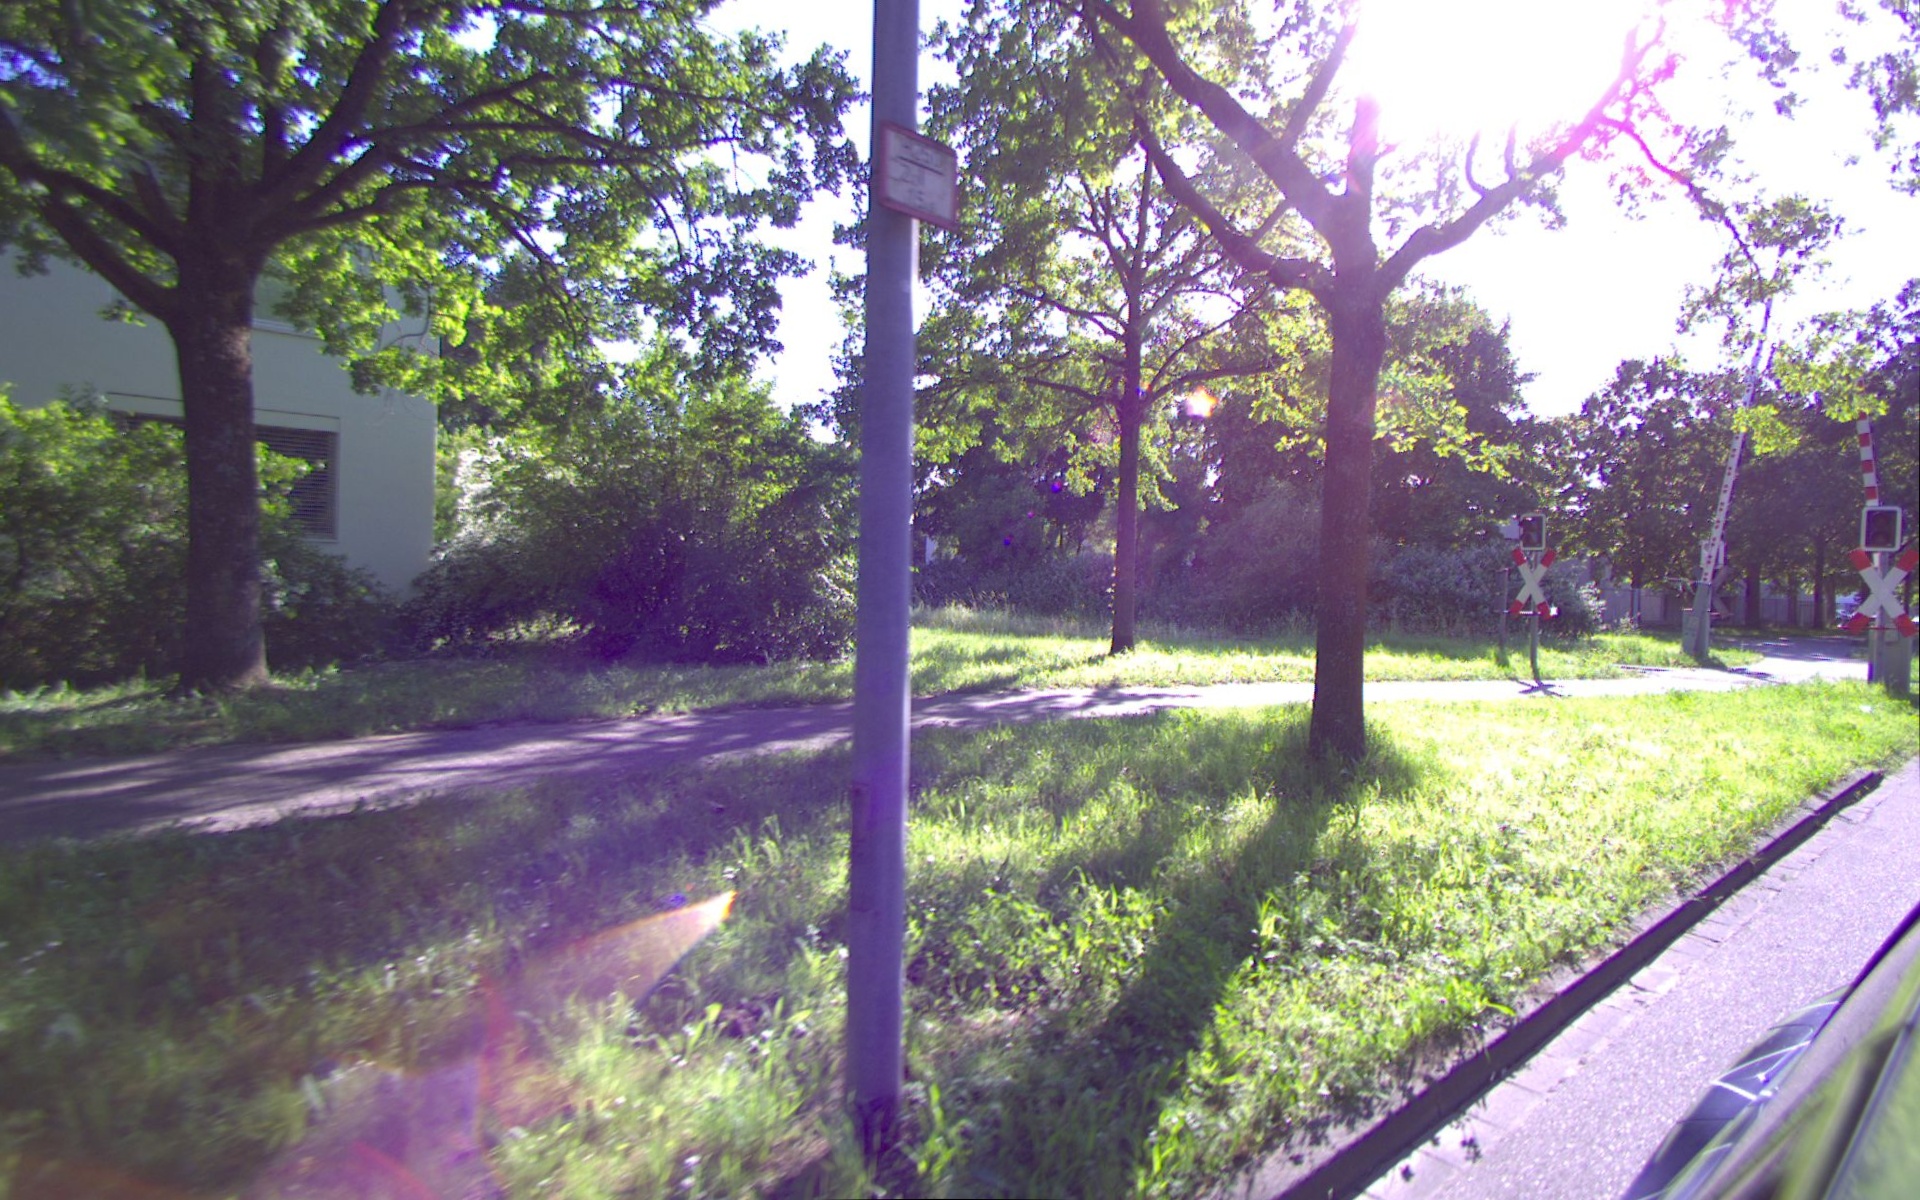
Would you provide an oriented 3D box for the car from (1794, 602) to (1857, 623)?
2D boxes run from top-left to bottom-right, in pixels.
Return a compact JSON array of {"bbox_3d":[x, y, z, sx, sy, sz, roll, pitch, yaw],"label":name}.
[{"bbox_3d":[97.680,1.392,114.252,1.860,1.983,5.077,0,2,-38],"label":"car"}]
